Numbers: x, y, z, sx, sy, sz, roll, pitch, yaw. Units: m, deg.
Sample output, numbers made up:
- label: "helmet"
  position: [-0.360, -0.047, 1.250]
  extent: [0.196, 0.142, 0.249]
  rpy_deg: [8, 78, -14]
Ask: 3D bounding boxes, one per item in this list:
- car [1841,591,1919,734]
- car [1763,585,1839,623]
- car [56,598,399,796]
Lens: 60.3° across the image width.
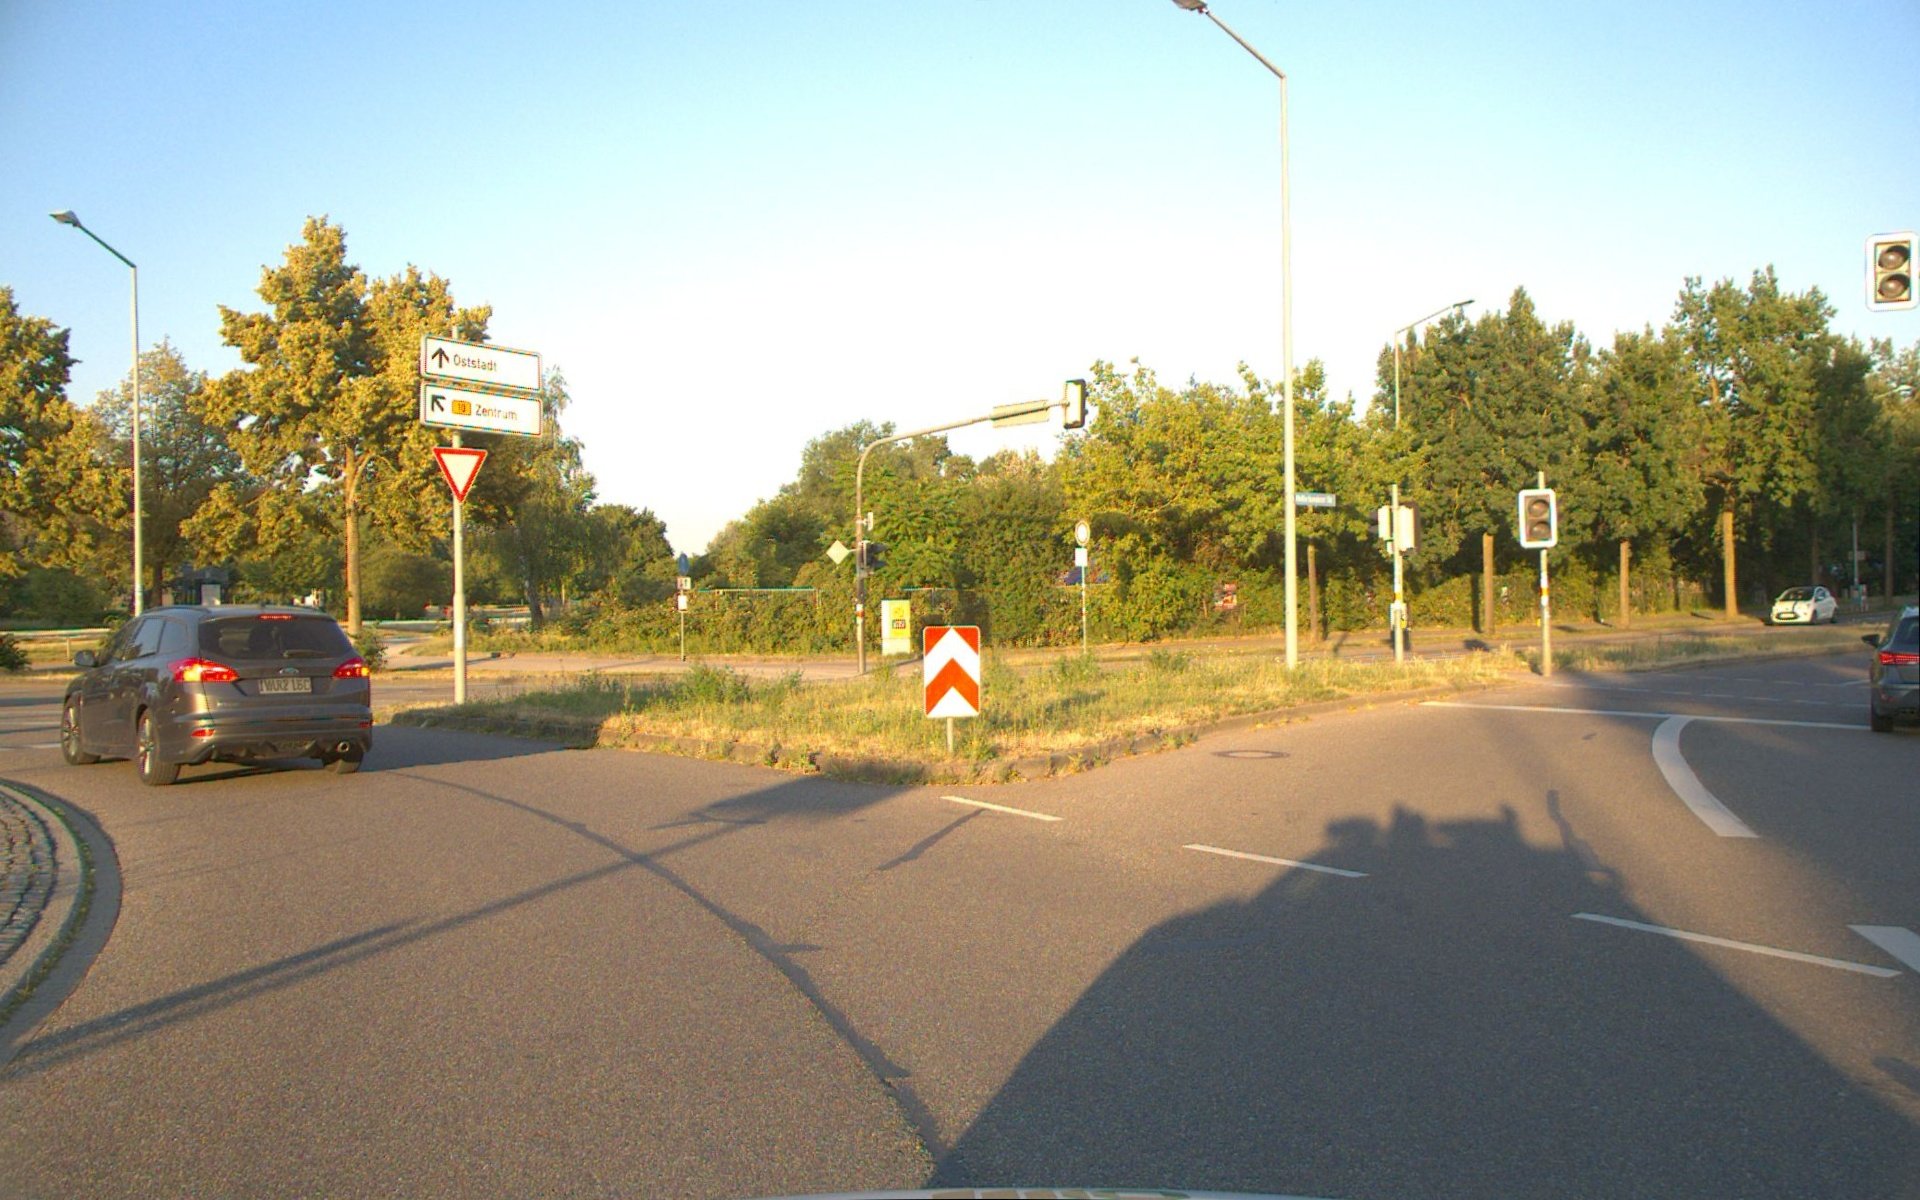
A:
- label: "car"
  position: [11.439, 0.652, 19.264]
  extent: [1.710, 1.449, 4.134]
  rpy_deg: [-1, 1, 23]
- label: "car"
  position: [33.656, 0.157, 66.176]
  extent: [3.455, 1.468, 1.531]
  rpy_deg: [-1, -1, -41]
- label: "car"
  position: [-6.732, 0.749, 14.966]
  extent: [1.736, 1.492, 4.073]
  rpy_deg: [-2, 1, -41]
